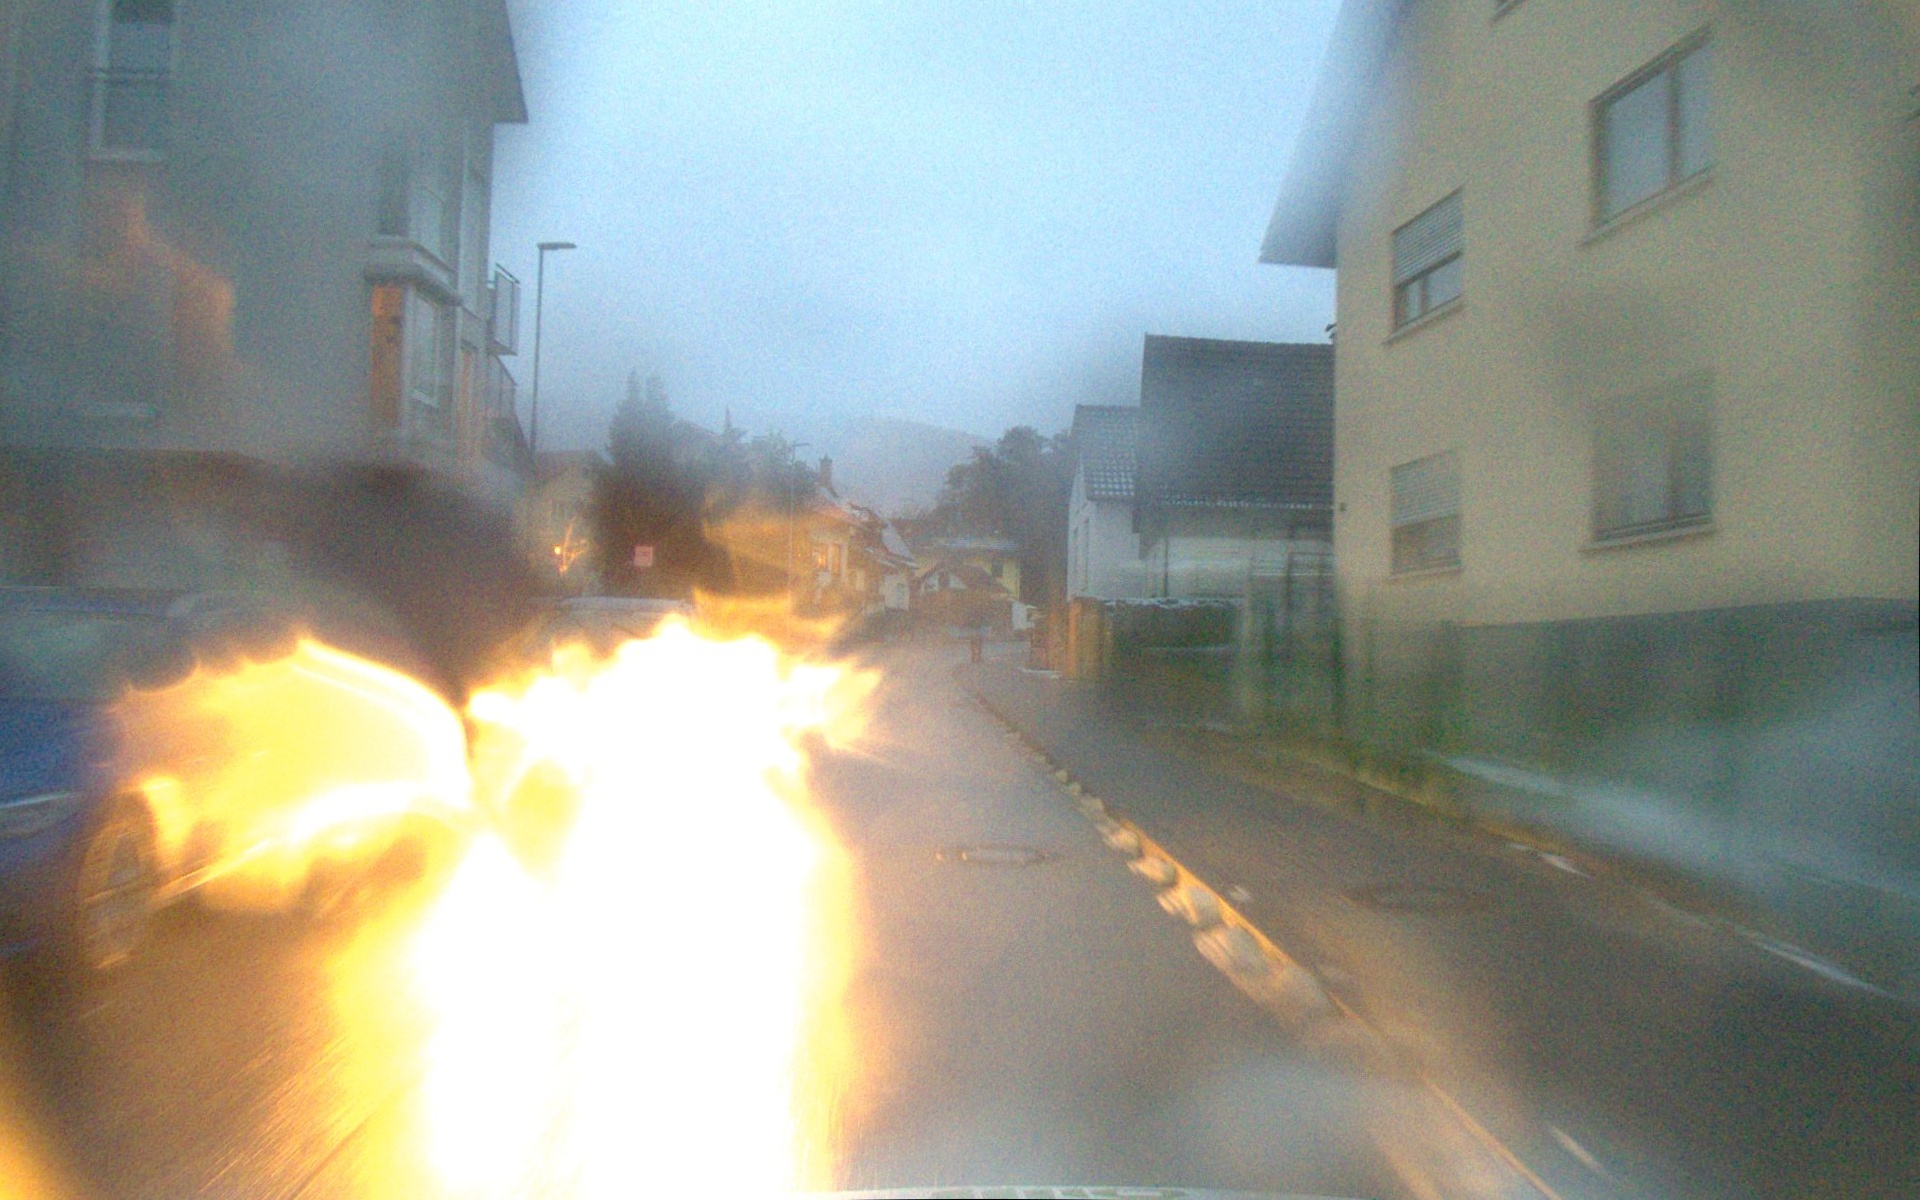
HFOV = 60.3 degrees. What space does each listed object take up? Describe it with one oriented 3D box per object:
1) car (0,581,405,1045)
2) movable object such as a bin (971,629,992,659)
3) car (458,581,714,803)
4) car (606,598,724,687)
[{"bbox_3d":[-3.971,0.660,7.399,1.699,1.469,4.436,1,0,-4],"label":"car"},{"bbox_3d":[0.691,1.424,53.437,0.601,0.963,0.595,-2,-3,4],"label":"movable object such as a bin"},{"bbox_3d":[-2.929,0.628,13.664,1.741,1.521,4.370,0,0,-9],"label":"car"},{"bbox_3d":[-5.206,0.716,29.589,1.635,1.434,3.911,1,0,-4],"label":"car"}]
